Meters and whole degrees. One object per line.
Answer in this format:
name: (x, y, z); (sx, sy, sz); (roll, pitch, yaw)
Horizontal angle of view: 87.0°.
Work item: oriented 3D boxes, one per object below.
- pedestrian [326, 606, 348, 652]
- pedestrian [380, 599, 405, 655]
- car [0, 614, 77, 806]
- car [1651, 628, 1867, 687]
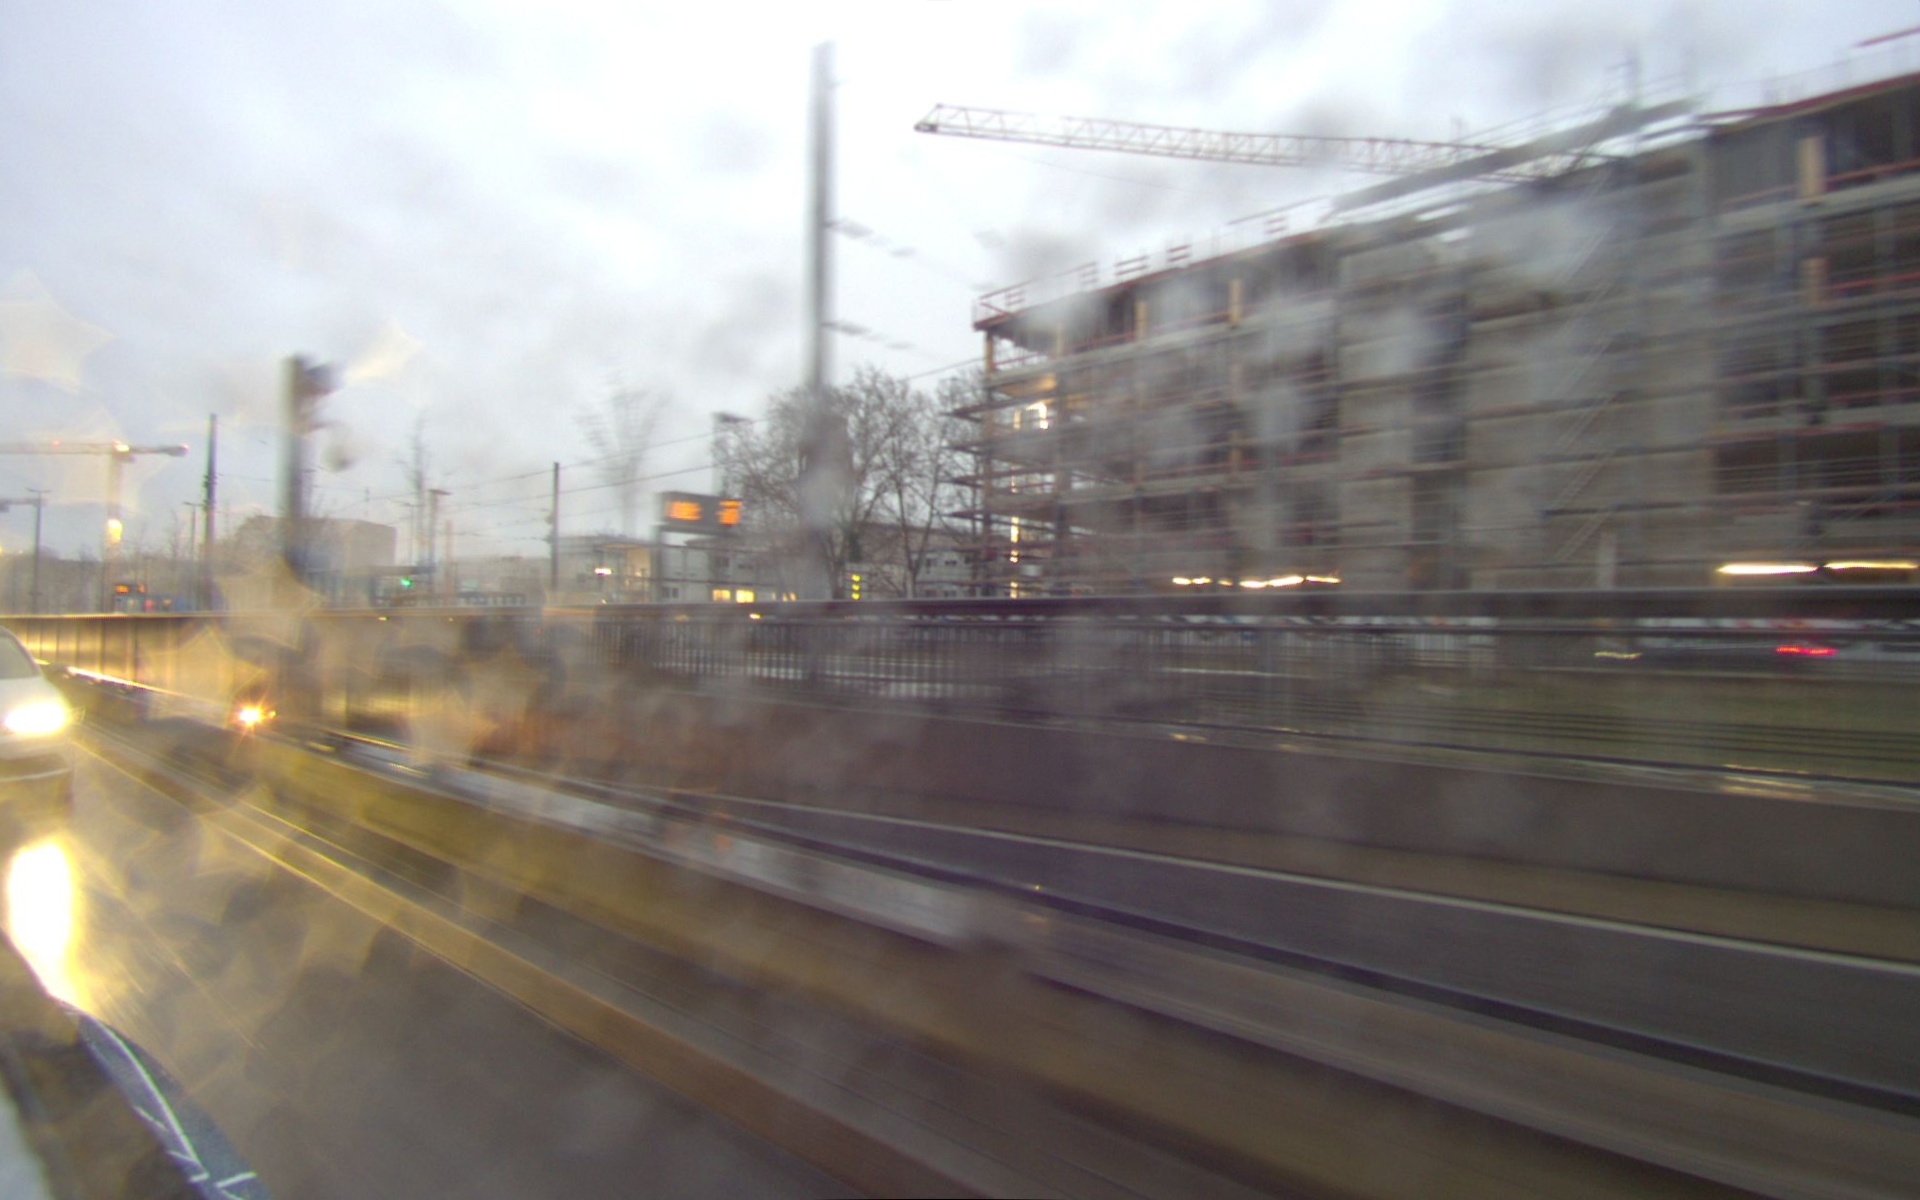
pedestrian: (-21.735, 1.009, 35.283); (0.576, 1.562, 0.742); (1, -2, -37)
pedestrian: (-17.708, 0.848, 31.563); (0.576, 1.714, 0.742); (1, -2, -37)
car: (-9.189, 0.873, 8.918); (4.140, 1.484, 1.789); (-1, -2, 44)
car: (21.148, 1.507, 26.907); (4.340, 1.425, 1.664); (-3, -3, 43)
